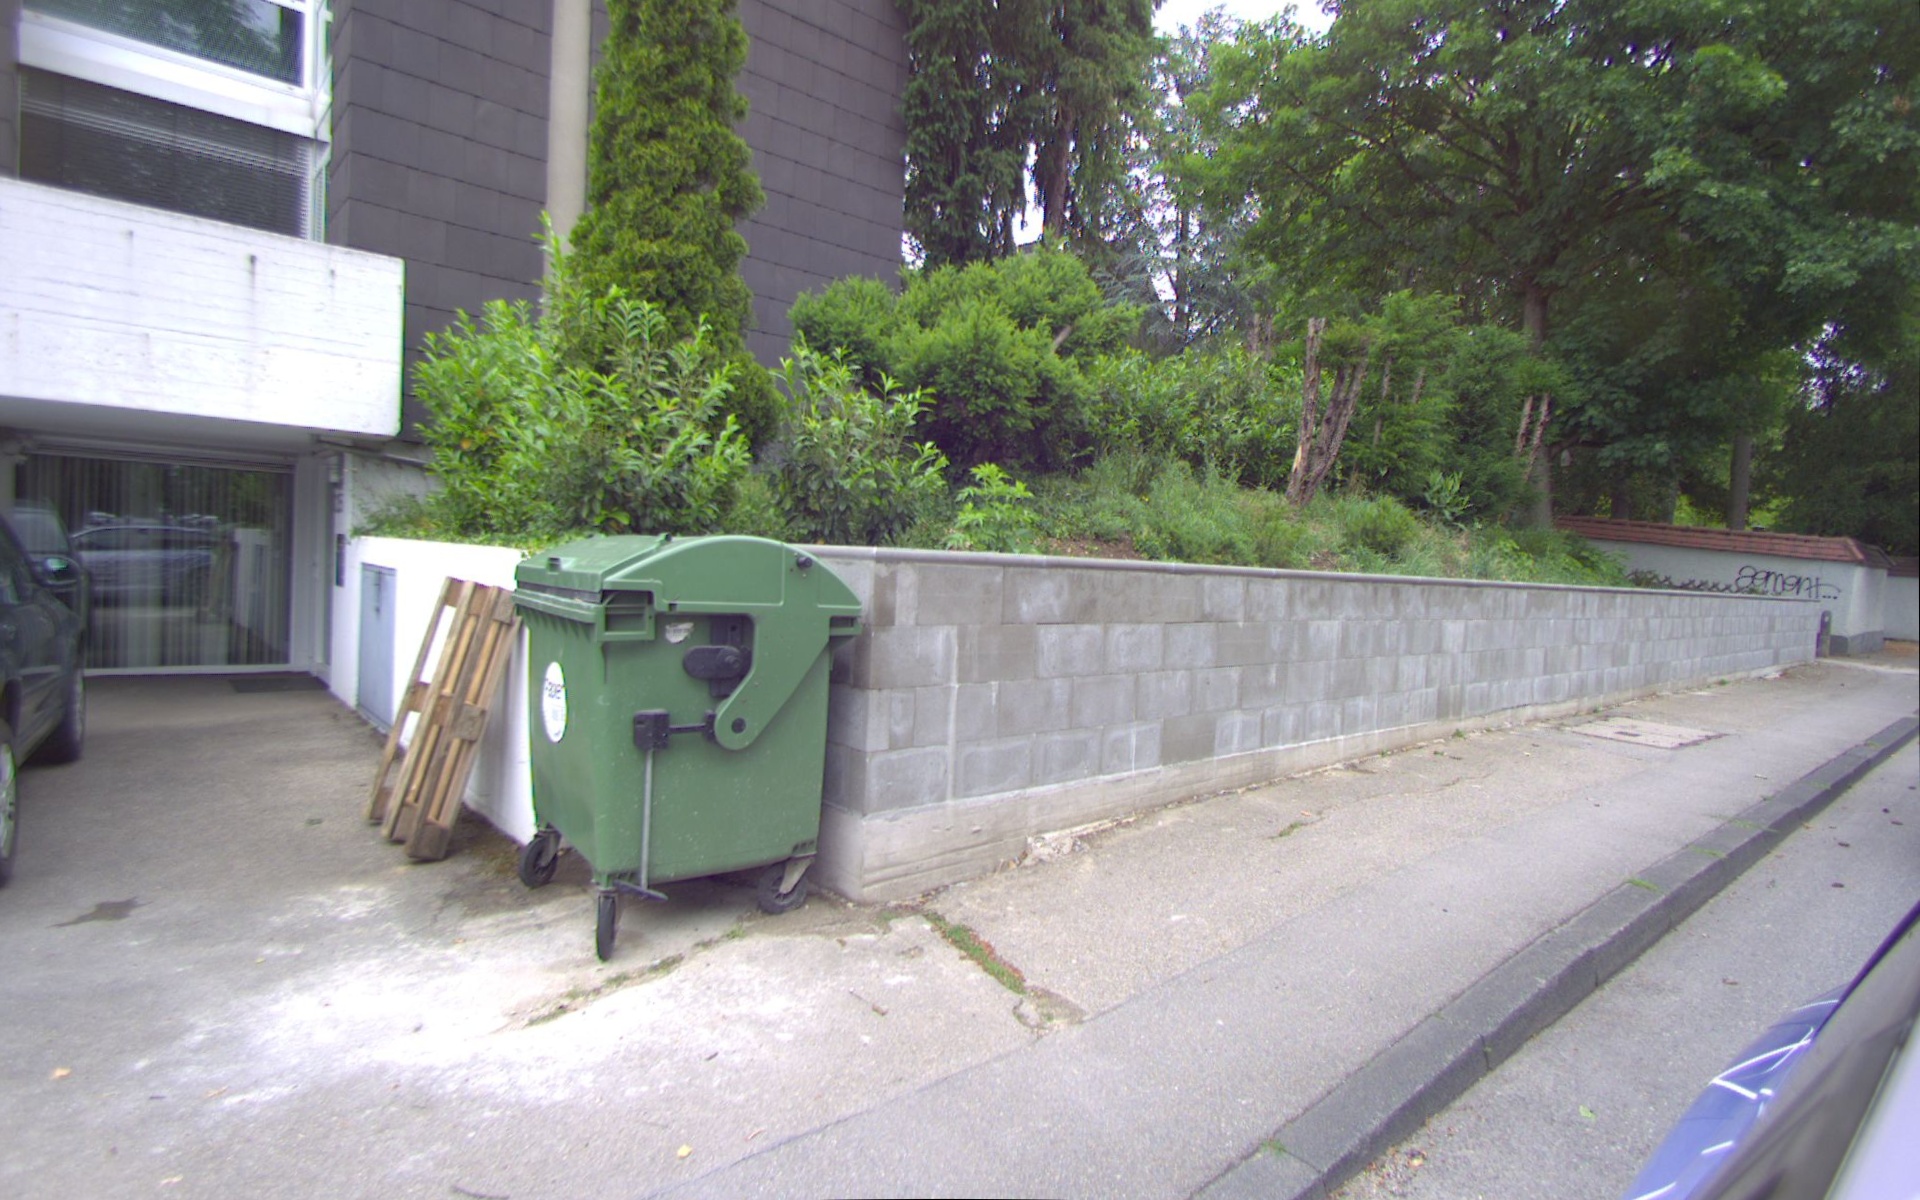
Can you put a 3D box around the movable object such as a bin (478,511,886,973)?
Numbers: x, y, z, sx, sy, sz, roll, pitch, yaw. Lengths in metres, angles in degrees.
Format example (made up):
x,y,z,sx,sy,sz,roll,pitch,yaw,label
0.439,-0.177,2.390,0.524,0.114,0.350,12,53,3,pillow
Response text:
x,y,z,sx,sy,sz,roll,pitch,yaw,label
-1.166,0.411,4.093,1.096,1.469,1.407,0,3,-40,movable object such as a bin

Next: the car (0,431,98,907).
x,y,z,sx,sy,sz,roll,pitch,yaw,label
-5.031,0.141,4.366,1.712,1.671,3.914,0,4,-36,car
